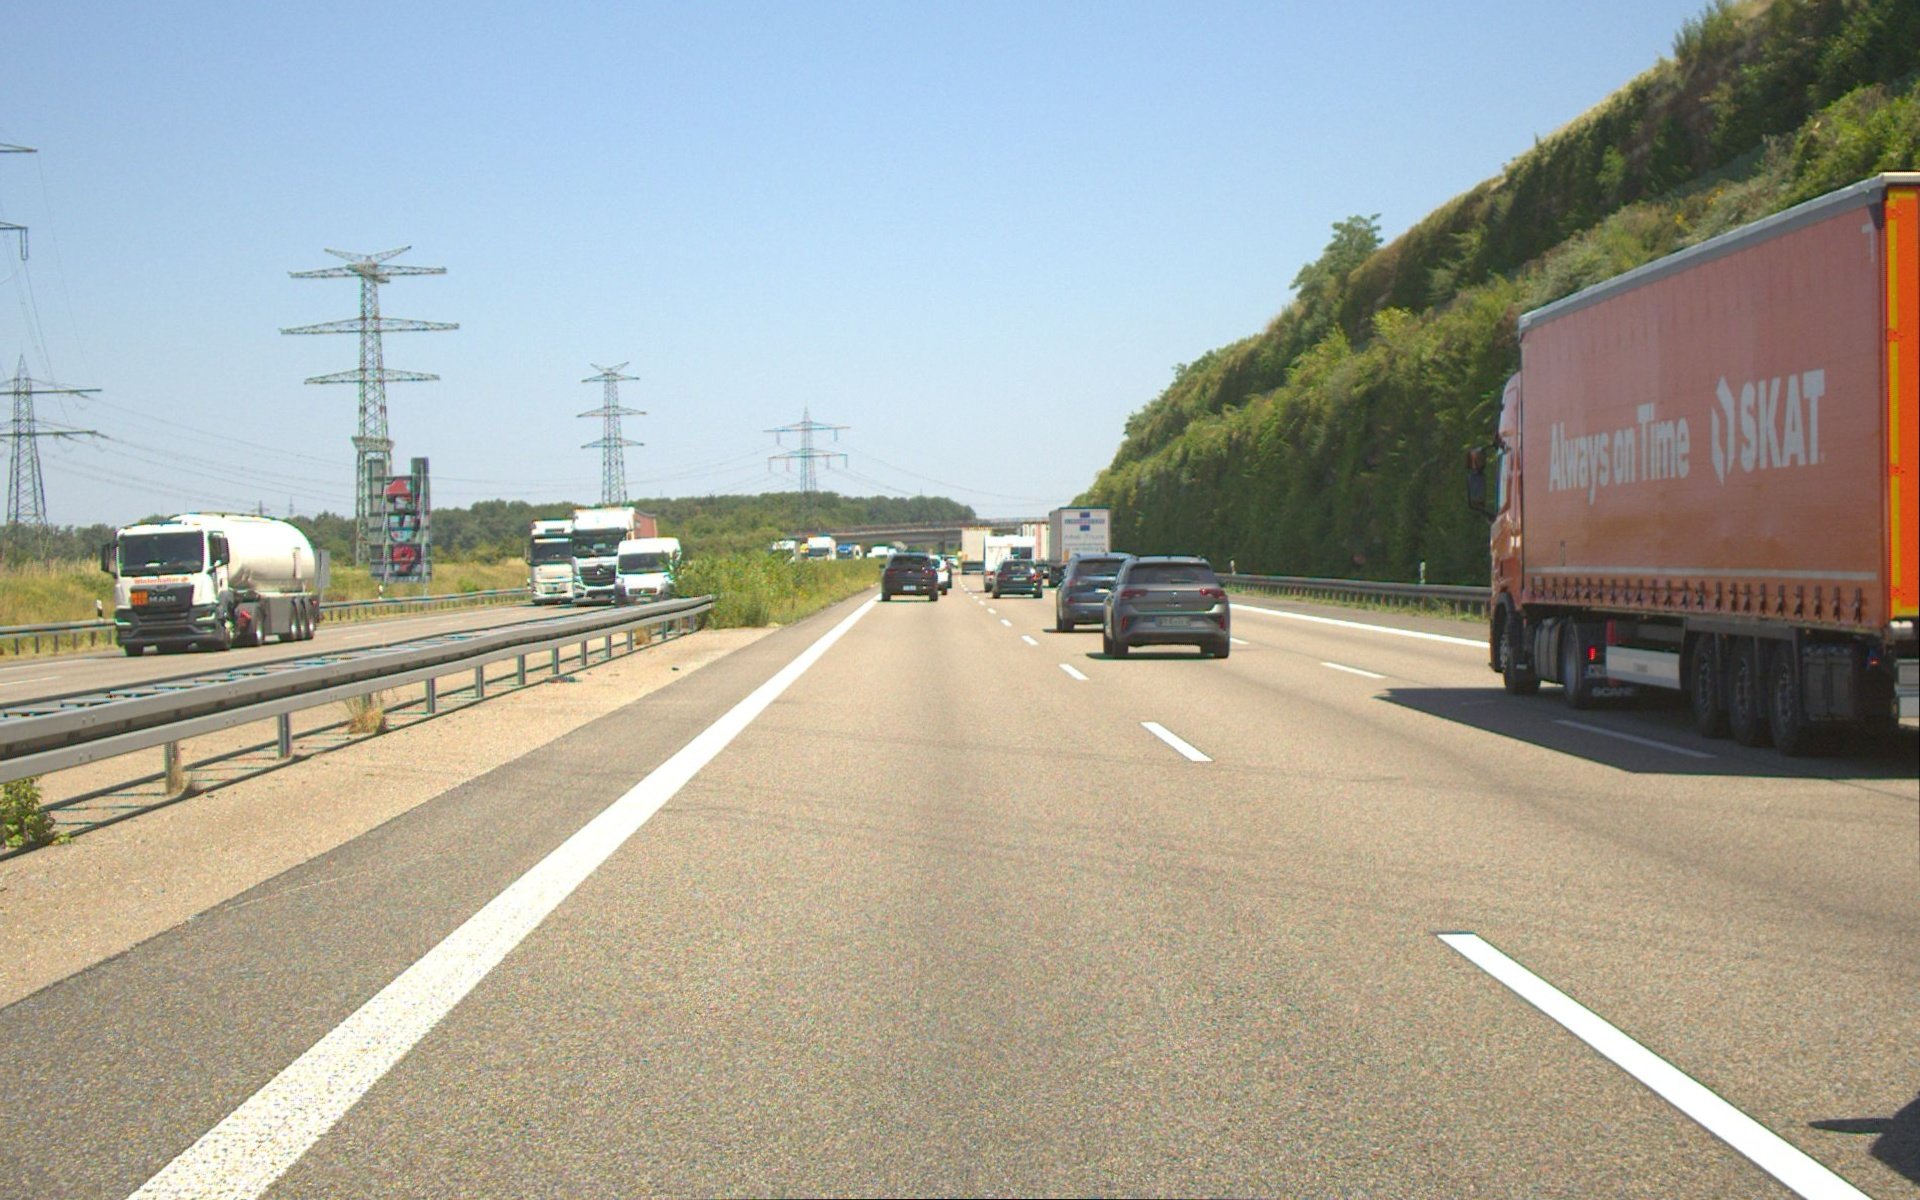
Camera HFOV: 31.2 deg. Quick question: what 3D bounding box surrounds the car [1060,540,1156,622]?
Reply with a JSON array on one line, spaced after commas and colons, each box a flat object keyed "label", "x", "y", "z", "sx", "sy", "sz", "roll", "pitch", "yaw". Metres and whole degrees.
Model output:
[{"label": "car", "x": 3.076, "y": -0.422, "z": 71.890, "sx": 1.794, "sy": 1.647, "sz": 4.138, "roll": -1, "pitch": 1, "yaw": 0}]

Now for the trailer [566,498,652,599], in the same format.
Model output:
[{"label": "trailer", "x": -15.582, "y": -2.310, "z": 153.518, "sx": 2.591, "sy": 4.223, "sz": 14.330, "roll": -2, "pitch": 1, "yaw": -1}]

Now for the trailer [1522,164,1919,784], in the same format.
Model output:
[{"label": "trailer", "x": 7.245, "y": -0.922, "z": 28.969, "sx": 2.645, "sy": 3.991, "sz": 13.607, "roll": 0, "pitch": 1, "yaw": -1}]

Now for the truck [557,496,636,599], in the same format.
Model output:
[{"label": "truck", "x": -15.415, "y": -2.218, "z": 146.131, "sx": 2.600, "sy": 4.197, "sz": 5.910, "roll": -2, "pitch": 1, "yaw": 0}]

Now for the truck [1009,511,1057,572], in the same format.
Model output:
[{"label": "truck", "x": 5.198, "y": -4.182, "z": 247.535, "sx": 3.119, "sy": 4.265, "sz": 11.934, "roll": -1, "pitch": 1, "yaw": 0}]

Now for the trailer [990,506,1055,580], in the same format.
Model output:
[{"label": "trailer", "x": 2.813, "y": -2.596, "z": 157.348, "sx": 2.610, "sy": 3.202, "sz": 9.953, "roll": -2, "pitch": 1, "yaw": -1}]

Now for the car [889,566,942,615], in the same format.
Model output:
[{"label": "car", "x": -1.577, "y": -0.353, "z": 122.773, "sx": 1.830, "sy": 1.665, "sz": 4.000, "roll": -2, "pitch": 1, "yaw": -1}]

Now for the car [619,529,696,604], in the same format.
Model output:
[{"label": "car", "x": -10.250, "y": -1.161, "z": 116.866, "sx": 1.993, "sy": 2.429, "sz": 6.030, "roll": -2, "pitch": 1, "yaw": 0}]

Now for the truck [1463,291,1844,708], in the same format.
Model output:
[{"label": "truck", "x": 7.142, "y": -1.017, "z": 36.291, "sx": 2.618, "sy": 3.979, "sz": 6.527, "roll": -1, "pitch": 1, "yaw": -1}]

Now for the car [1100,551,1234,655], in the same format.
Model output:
[{"label": "car", "x": 3.154, "y": 0.022, "z": 53.093, "sx": 1.749, "sy": 1.520, "sz": 3.995, "roll": -1, "pitch": 1, "yaw": -1}]

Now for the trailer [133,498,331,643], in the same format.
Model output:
[{"label": "trailer", "x": -18.336, "y": -0.784, "z": 87.385, "sx": 2.416, "sy": 3.360, "sz": 11.563, "roll": -2, "pitch": 1, "yaw": 0}]

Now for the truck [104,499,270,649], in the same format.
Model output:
[{"label": "truck", "x": -18.347, "y": -0.644, "z": 81.963, "sx": 2.483, "sy": 3.367, "sz": 6.211, "roll": -2, "pitch": 1, "yaw": 0}]

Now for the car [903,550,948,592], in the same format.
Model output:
[{"label": "car", "x": -1.444, "y": -1.222, "z": 143.309, "sx": 1.830, "sy": 1.665, "sz": 4.000, "roll": -2, "pitch": 1, "yaw": -1}]

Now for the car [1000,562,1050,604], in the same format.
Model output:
[{"label": "car", "x": 2.467, "y": -0.656, "z": 131.271, "sx": 1.830, "sy": 1.520, "sz": 4.000, "roll": -2, "pitch": 1, "yaw": 1}]

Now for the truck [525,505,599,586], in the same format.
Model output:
[{"label": "truck", "x": -19.163, "y": -2.633, "z": 165.798, "sx": 2.835, "sy": 3.738, "sz": 6.850, "roll": -2, "pitch": 1, "yaw": -1}]

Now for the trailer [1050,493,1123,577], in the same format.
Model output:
[{"label": "trailer", "x": 6.541, "y": -3.357, "z": 179.180, "sx": 3.183, "sy": 4.107, "sz": 13.432, "roll": -1, "pitch": 1, "yaw": 0}]
